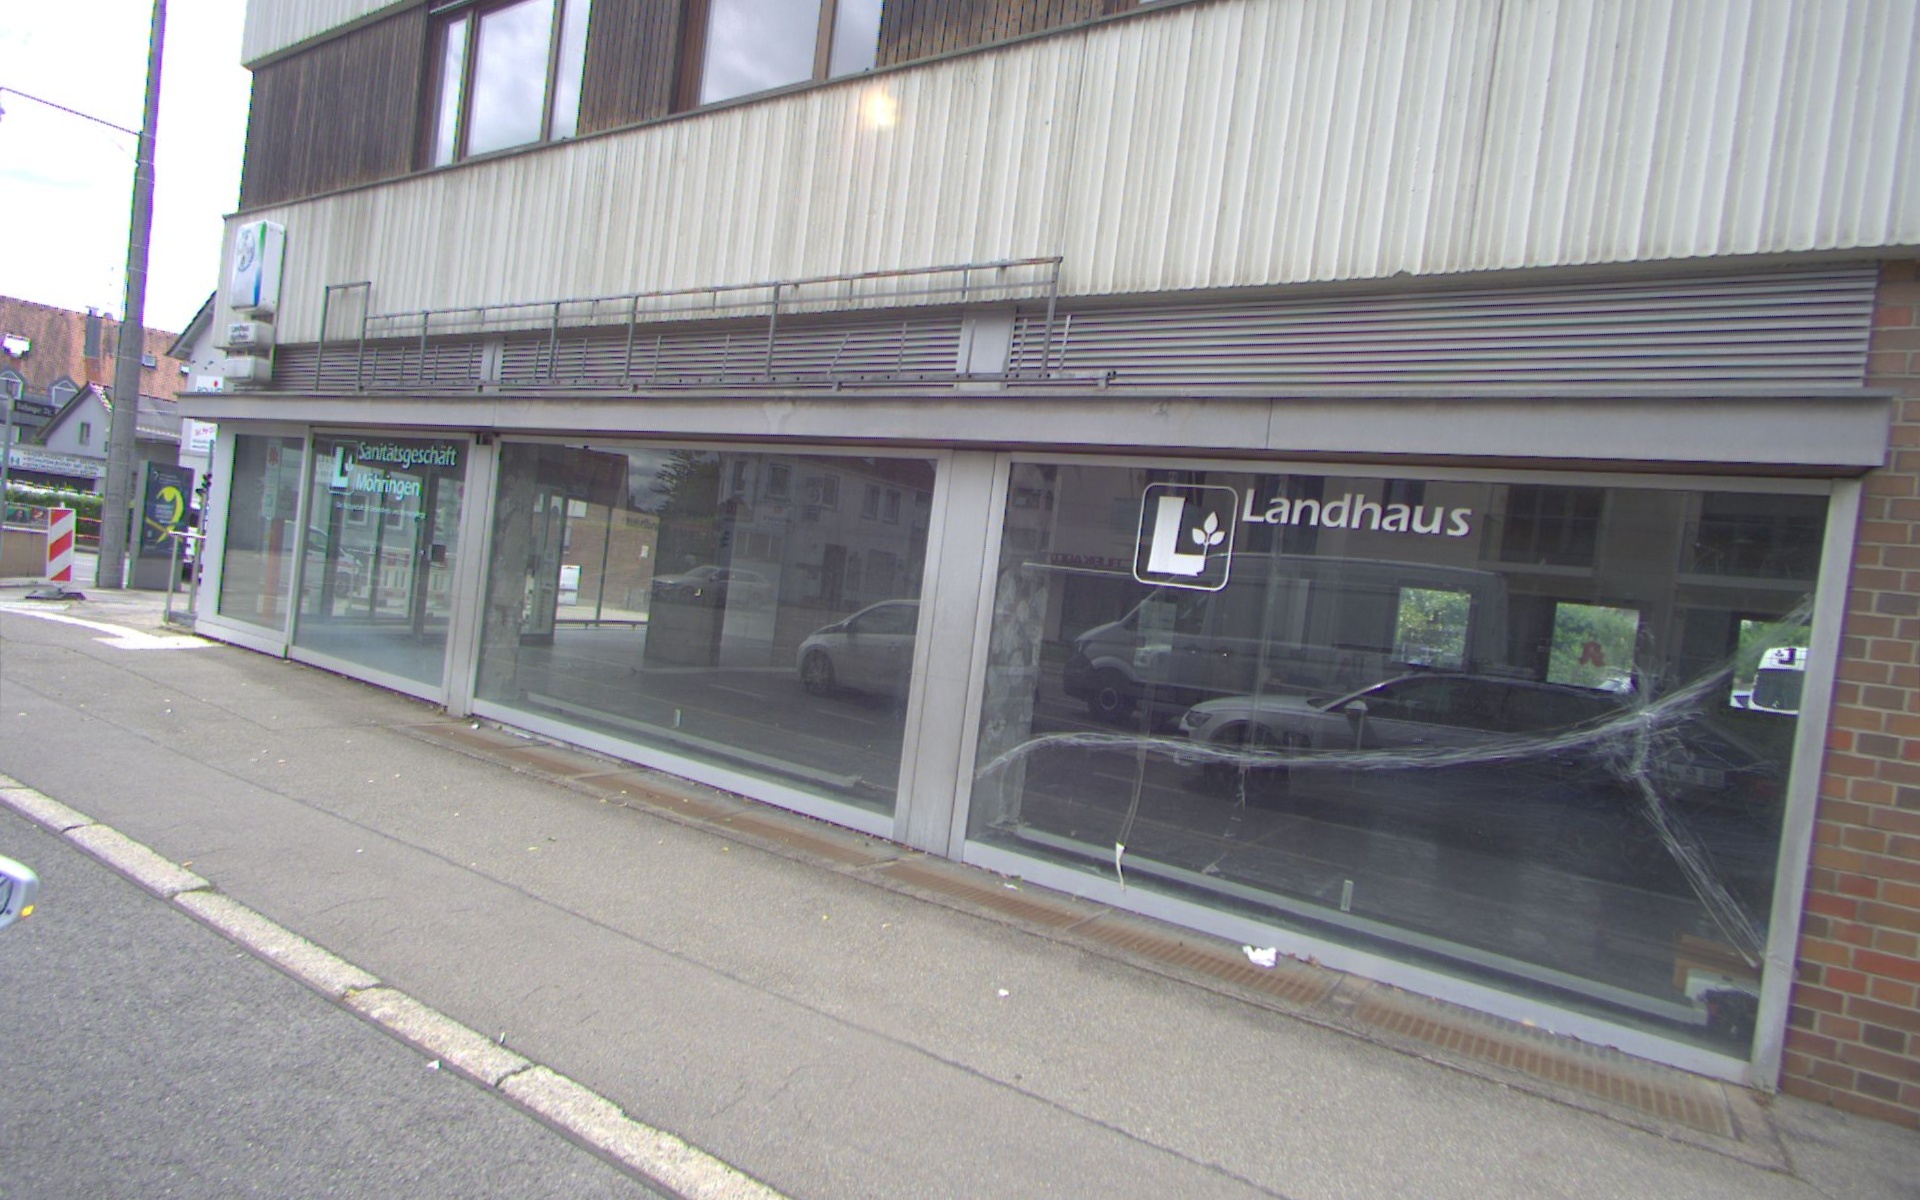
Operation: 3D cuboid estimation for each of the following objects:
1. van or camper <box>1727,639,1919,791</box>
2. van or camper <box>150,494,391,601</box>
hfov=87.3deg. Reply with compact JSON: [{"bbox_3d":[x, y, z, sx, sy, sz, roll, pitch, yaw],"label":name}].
[{"bbox_3d":[18.977,2.423,20.057,5.409,2.574,2.058,7,1,4],"label":"van or camper"},{"bbox_3d":[-19.031,-1.364,28.122,1.963,2.100,5.137,7,-2,23],"label":"van or camper"}]
